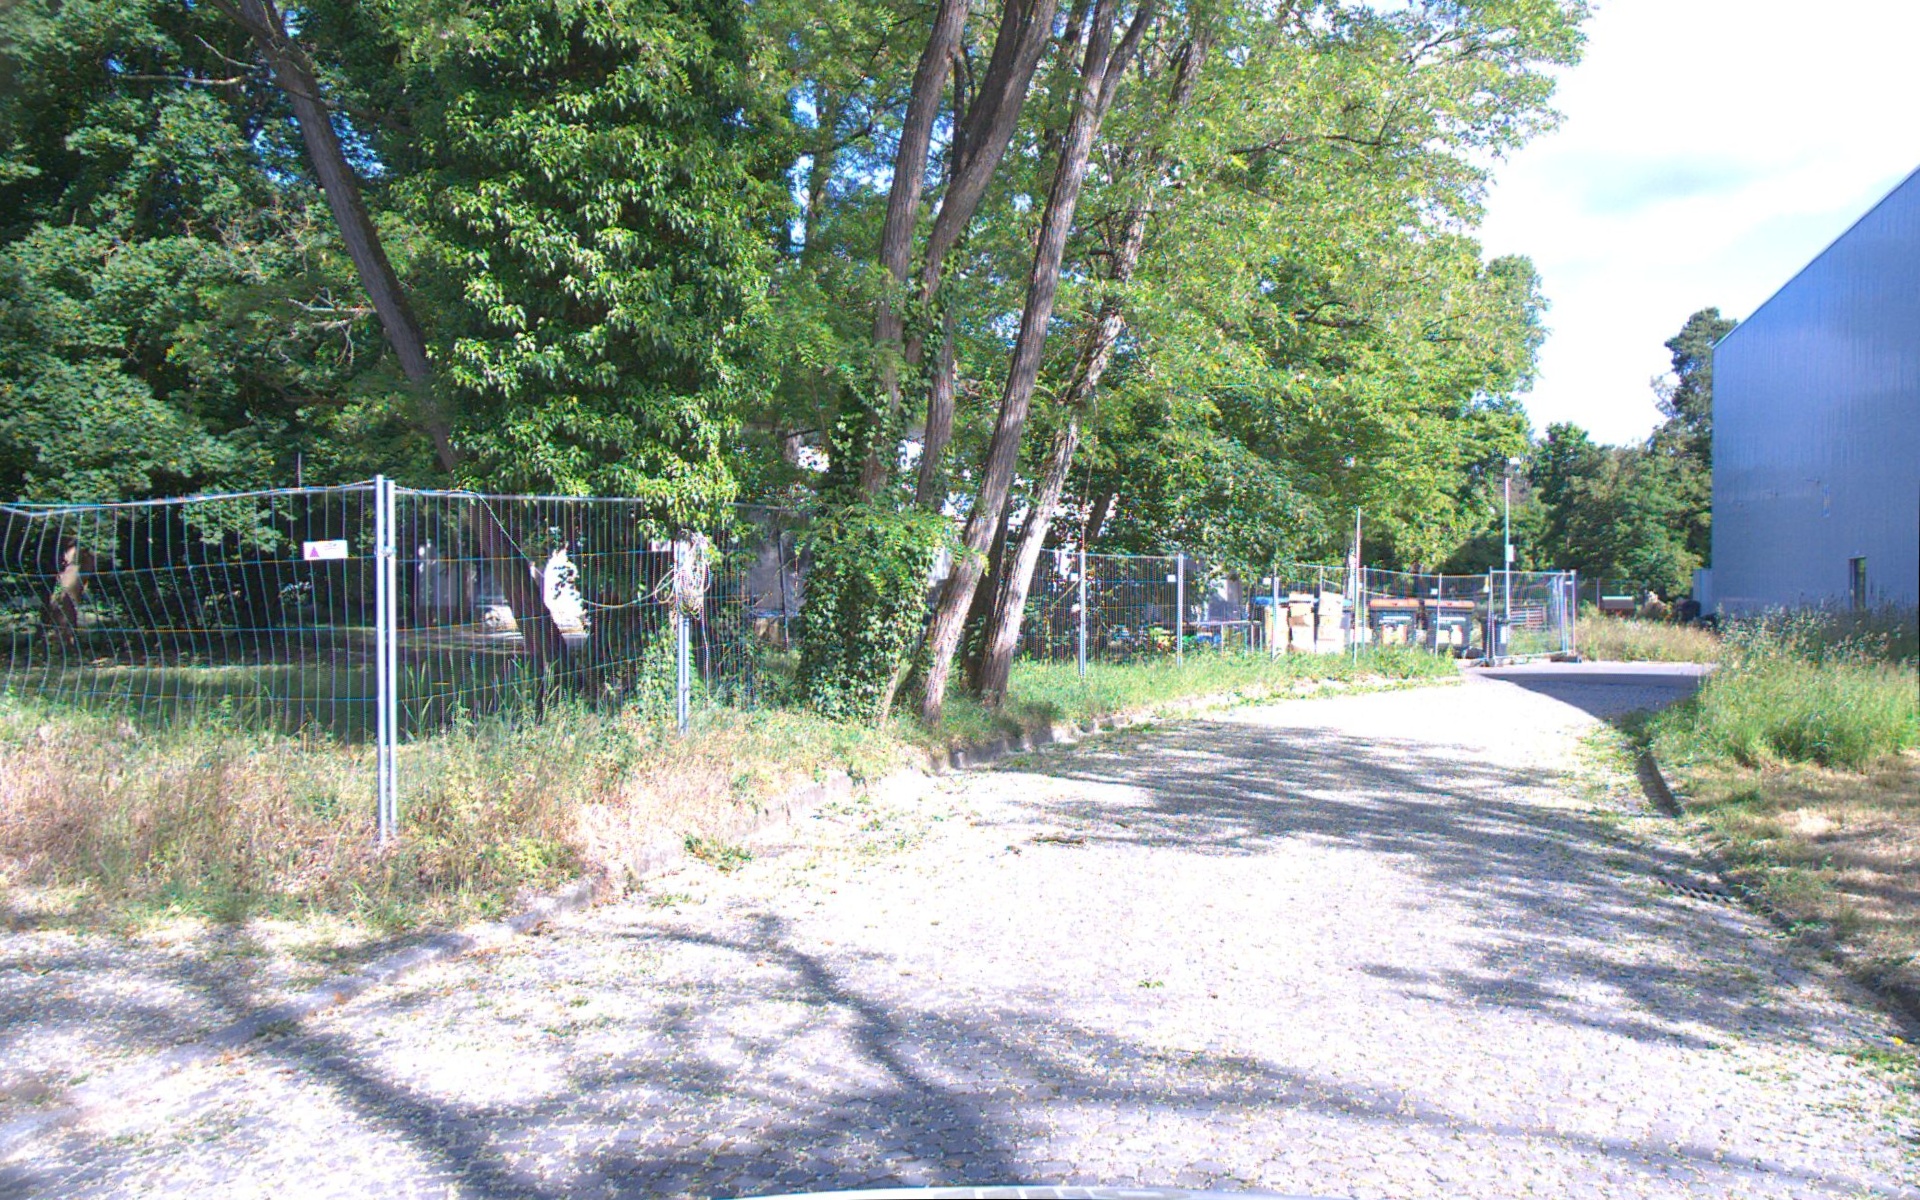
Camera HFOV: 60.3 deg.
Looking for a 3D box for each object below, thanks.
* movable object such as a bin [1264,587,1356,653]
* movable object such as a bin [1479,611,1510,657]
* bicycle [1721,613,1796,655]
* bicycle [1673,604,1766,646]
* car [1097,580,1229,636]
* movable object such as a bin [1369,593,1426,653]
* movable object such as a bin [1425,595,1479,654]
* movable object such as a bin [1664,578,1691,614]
[{"bbox_3d":[8.879,0.499,42.034,2.239,1.619,1.175,0,0,10],"label":"movable object such as a bin"},{"bbox_3d":[13.257,0.840,40.998,0.721,1.116,0.819,0,0,19],"label":"movable object such as a bin"},{"bbox_3d":[21.392,0.901,44.354,1.754,1.101,0.525,0,0,18],"label":"bicycle"},{"bbox_3d":[23.922,0.783,52.141,2.576,1.288,1.141,0,0,20],"label":"bicycle"},{"bbox_3d":[7.442,0.305,60.350,4.609,1.935,2.002,-1,-1,12],"label":"car"},{"bbox_3d":[11.031,0.572,41.739,1.309,1.510,0.807,0,0,10],"label":"movable object such as a bin"},{"bbox_3d":[12.301,0.608,41.413,1.218,1.470,0.703,0,0,10],"label":"movable object such as a bin"},{"bbox_3d":[41.137,-0.219,94.841,1.389,2.049,1.125,0,0,20],"label":"movable object such as a bin"}]
